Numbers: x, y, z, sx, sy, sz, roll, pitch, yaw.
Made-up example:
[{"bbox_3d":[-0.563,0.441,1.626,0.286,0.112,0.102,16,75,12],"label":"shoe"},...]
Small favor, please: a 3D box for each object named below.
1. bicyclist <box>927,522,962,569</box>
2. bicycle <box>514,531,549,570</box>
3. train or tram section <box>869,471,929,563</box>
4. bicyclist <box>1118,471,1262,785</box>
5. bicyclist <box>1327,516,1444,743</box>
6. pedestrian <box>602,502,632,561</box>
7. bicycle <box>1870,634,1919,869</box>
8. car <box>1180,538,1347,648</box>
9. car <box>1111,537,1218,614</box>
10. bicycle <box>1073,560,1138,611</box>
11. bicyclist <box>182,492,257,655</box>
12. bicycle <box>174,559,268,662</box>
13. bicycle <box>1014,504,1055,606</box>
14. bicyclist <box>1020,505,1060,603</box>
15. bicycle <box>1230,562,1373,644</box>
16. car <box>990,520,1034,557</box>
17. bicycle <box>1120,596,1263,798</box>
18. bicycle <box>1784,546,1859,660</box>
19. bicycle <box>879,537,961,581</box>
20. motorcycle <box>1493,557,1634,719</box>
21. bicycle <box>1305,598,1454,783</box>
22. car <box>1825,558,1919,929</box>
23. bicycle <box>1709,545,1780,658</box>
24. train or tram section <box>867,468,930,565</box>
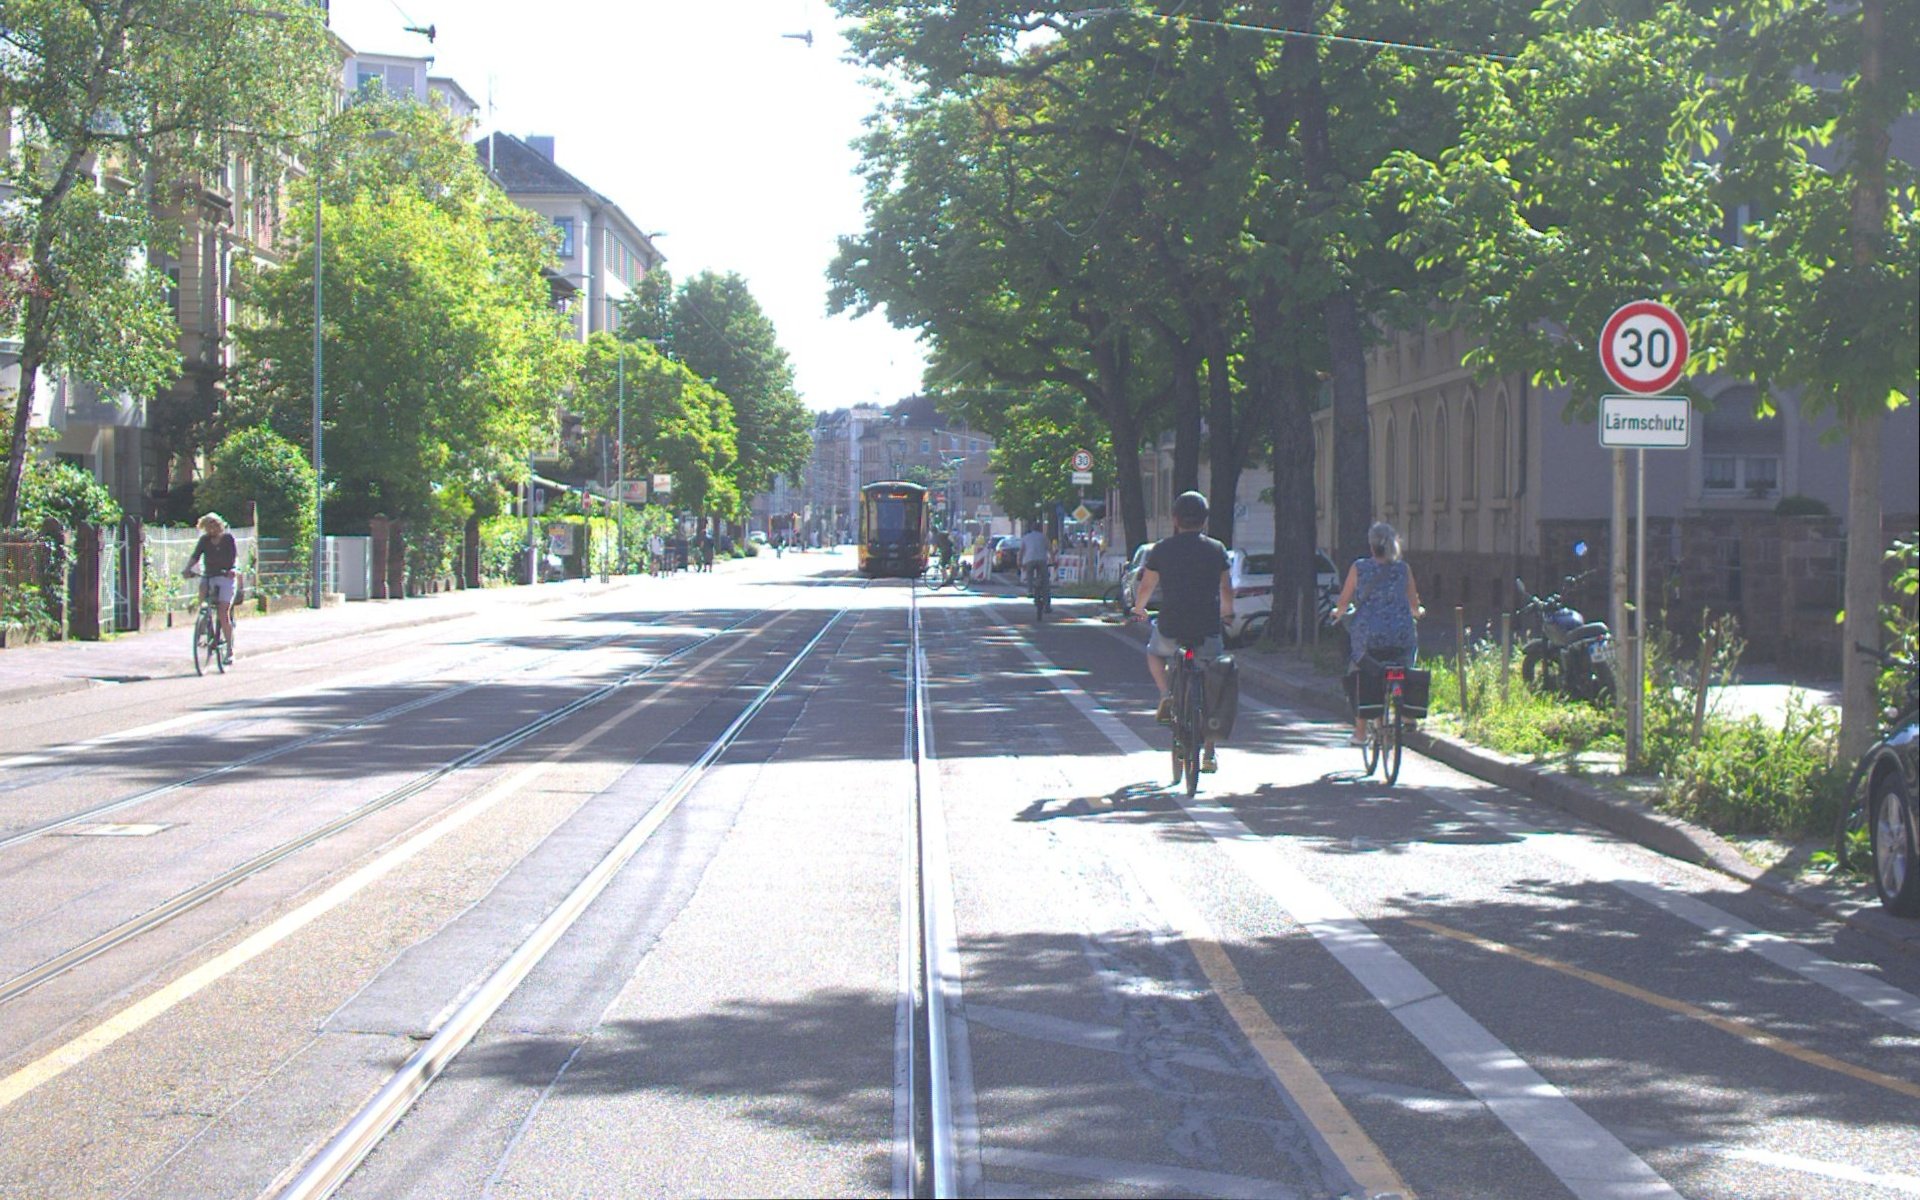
[{"bbox_3d":[-0.440,-1.543,97.108,0.772,1.287,0.733,2,1,15],"label":"bicyclist"},{"bbox_3d":[-12.153,-1.410,97.510,0.632,1.065,1.832,2,1,-17],"label":"bicycle"},{"bbox_3d":[-2.391,-3.231,133.923,2.153,3.420,6.612,2,1,-1],"label":"train or tram section"},{"bbox_3d":[1.390,0.156,20.877,0.727,1.842,0.837,2,1,-2],"label":"bicyclist"},{"bbox_3d":[2.820,0.188,22.838,0.635,1.463,0.616,2,1,-1],"label":"bicyclist"},{"bbox_3d":[-9.975,-1.992,99.951,0.770,1.706,0.669,2,1,-1],"label":"pedestrian"},{"bbox_3d":[5.308,0.692,16.329,1.792,1.063,0.621,-1,1,-5],"label":"bicycle"},{"bbox_3d":[4.223,-0.140,48.423,1.628,1.431,4.666,0,1,-4],"label":"car"},{"bbox_3d":[3.962,-0.497,67.024,1.748,1.415,4.001,0,1,-1],"label":"car"},{"bbox_3d":[3.070,-0.303,72.425,1.270,1.020,0.704,2,0,7],"label":"bicycle"},{"bbox_3d":[-8.298,-0.299,38.535,0.660,1.795,0.616,-1,1,-1],"label":"bicyclist"},{"bbox_3d":[-8.302,0.105,38.680,0.692,1.108,1.719,-1,1,-1],"label":"bicycle"},{"bbox_3d":[1.391,-0.861,64.597,0.663,1.853,2.260,2,1,0],"label":"bicycle"},{"bbox_3d":[1.485,-0.865,64.018,0.645,1.789,0.956,2,1,-1],"label":"bicyclist"},{"bbox_3d":[4.489,0.036,45.207,1.792,1.016,0.620,-1,1,-1],"label":"bicycle"},{"bbox_3d":[2.248,-2.704,149.790,1.754,1.546,3.677,2,1,-1],"label":"car"},{"bbox_3d":[1.384,0.563,20.841,0.692,1.108,1.719,2,1,-1],"label":"bicycle"},{"bbox_3d":[9.535,0.022,38.094,0.434,1.219,1.373,2,1,-1],"label":"bicycle"},{"bbox_3d":[-1.121,-1.160,97.273,2.141,1.167,0.802,2,1,15],"label":"bicycle"},{"bbox_3d":[4.796,0.282,27.427,0.495,1.186,1.862,-3,2,-8],"label":"motorcycle"},{"bbox_3d":[2.768,0.577,22.846,0.692,1.108,1.917,2,1,-1],"label":"bicycle"},{"bbox_3d":[4.719,0.596,13.043,1.787,1.459,4.045,0,1,-1],"label":"car"},{"bbox_3d":[8.782,0.004,38.523,0.434,1.219,1.373,2,1,-1],"label":"bicycle"},{"bbox_3d":[-2.269,-3.073,127.286,2.153,3.420,6.612,2,1,-1],"label":"train or tram section"}]
